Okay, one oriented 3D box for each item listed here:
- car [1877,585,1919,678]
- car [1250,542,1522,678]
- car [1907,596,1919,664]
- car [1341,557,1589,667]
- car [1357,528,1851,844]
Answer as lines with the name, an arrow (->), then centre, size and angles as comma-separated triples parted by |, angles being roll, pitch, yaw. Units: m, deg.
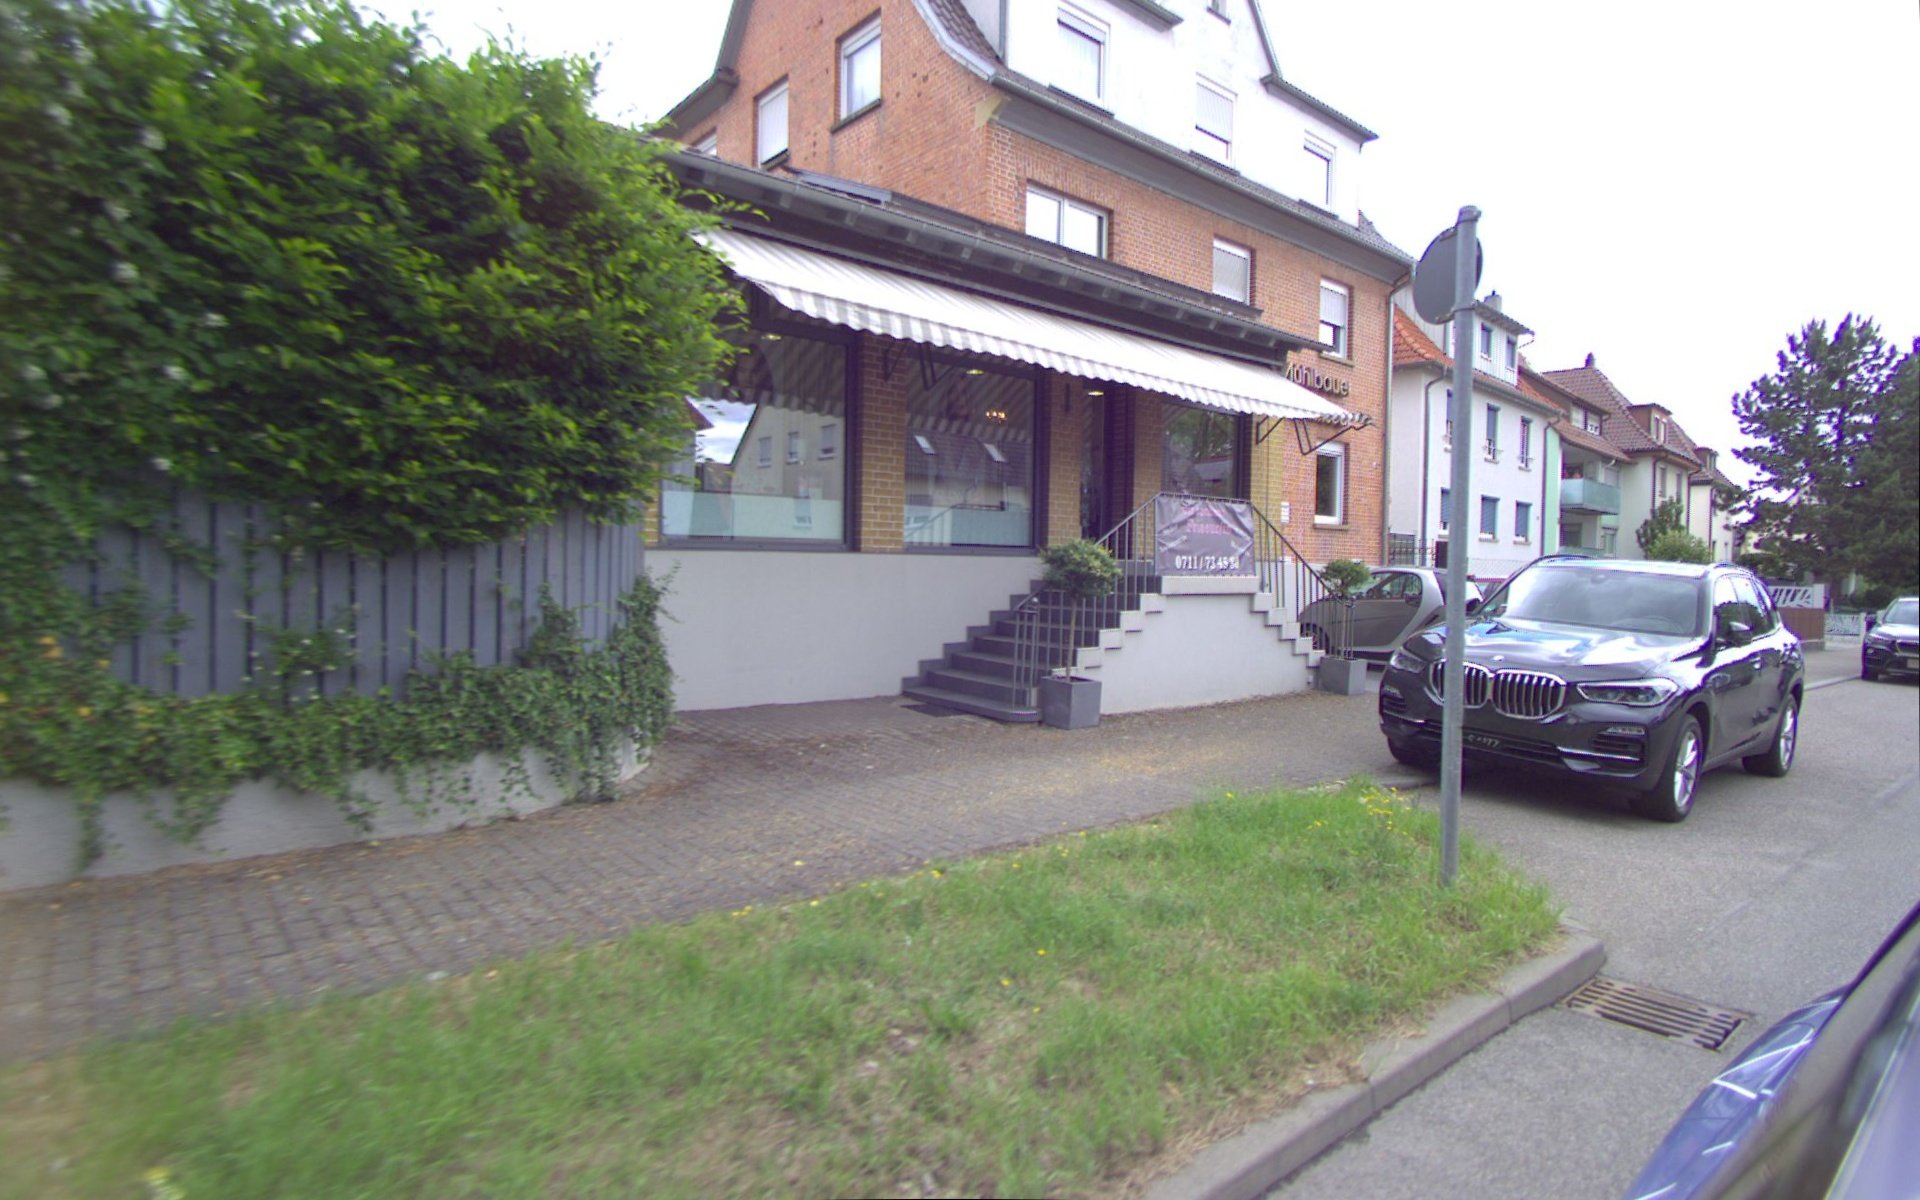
car -> 18.673, 0.598, 19.000 | 4.086, 1.611, 1.727 | 0, 3, -43
car -> 6.334, 0.072, 15.260 | 1.554, 1.653, 3.356 | 0, 5, -44
car -> 22.000, 0.669, 21.938 | 3.619, 1.440, 1.680 | 0, 2, -40
car -> 8.523, 0.129, 17.222 | 3.353, 1.476, 1.722 | 7, 5, 43
car -> 5.420, 0.465, 8.230 | 4.826, 1.859, 1.903 | 0, 3, -39
